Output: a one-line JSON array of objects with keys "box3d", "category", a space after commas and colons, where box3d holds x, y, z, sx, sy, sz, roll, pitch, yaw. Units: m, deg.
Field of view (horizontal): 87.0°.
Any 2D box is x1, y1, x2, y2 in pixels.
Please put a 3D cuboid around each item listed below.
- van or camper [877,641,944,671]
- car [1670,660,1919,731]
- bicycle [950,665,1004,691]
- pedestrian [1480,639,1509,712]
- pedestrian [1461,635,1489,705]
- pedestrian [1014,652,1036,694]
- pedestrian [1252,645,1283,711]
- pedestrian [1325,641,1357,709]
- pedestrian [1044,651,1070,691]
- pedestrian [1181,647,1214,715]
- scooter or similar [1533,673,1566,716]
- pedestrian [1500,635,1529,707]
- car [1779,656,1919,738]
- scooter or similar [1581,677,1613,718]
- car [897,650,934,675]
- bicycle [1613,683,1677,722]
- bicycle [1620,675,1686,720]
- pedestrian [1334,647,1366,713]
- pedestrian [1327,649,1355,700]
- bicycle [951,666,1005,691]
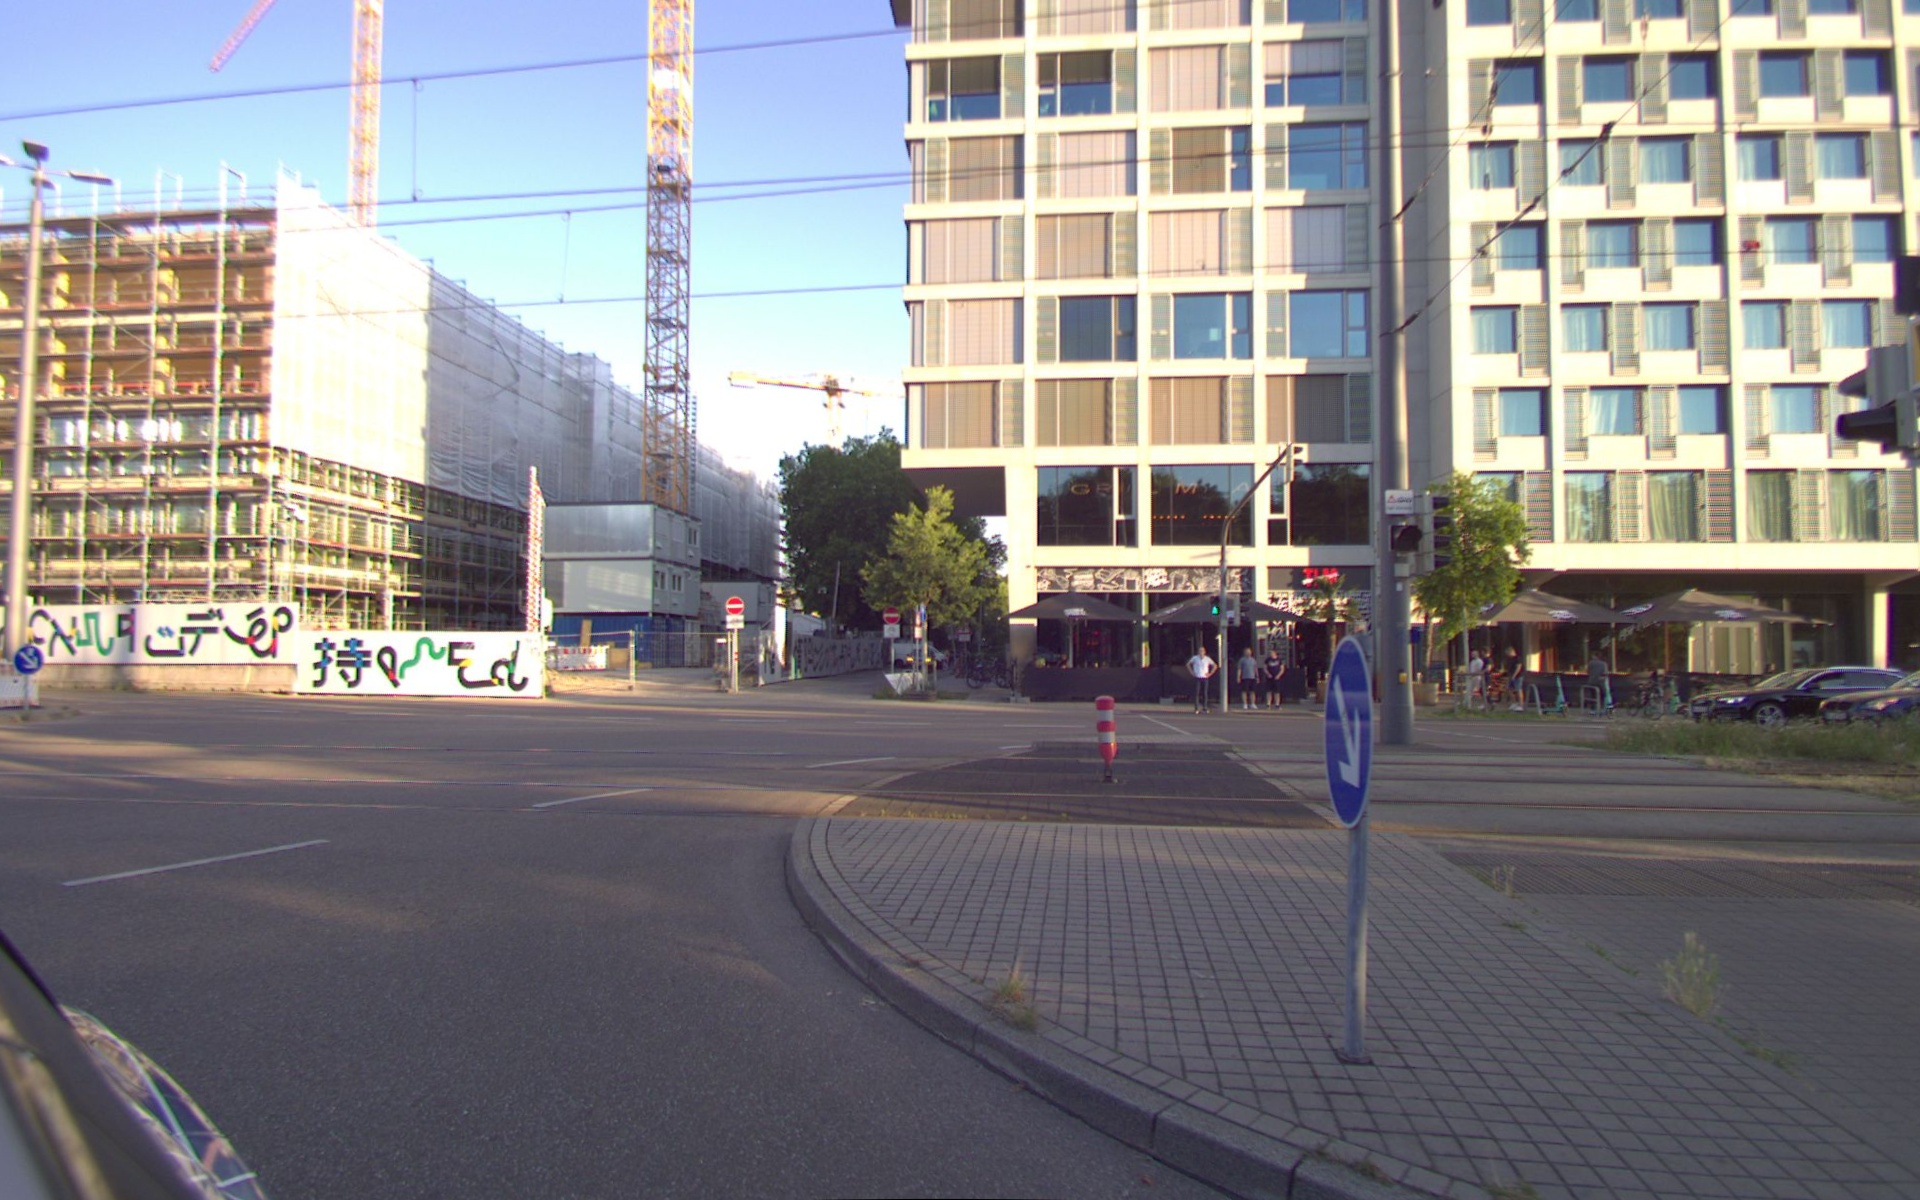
[{"box3d": [-3.867, 4.459, 79.930, 4.896, 2.139, 2.486, -3, -4, 8], "category": "van or camper"}, {"box3d": [18.249, 2.068, 21.982, 4.168, 1.451, 1.889, 0, -5, 3], "category": "car"}, {"box3d": [0.635, 2.900, 37.474, 1.952, 0.881, 0.394, -2, -1, 3], "category": "bicycle"}, {"box3d": [15.065, 2.118, 28.536, 0.495, 2.029, 0.552, 3, -4, -44], "category": "pedestrian"}, {"box3d": [15.066, 2.035, 29.612, 0.495, 2.029, 0.552, 3, -4, -44], "category": "pedestrian"}, {"box3d": [2.323, 2.609, 36.170, 0.763, 1.474, 0.605, 0, -3, 4], "category": "pedestrian"}, {"box3d": [8.868, 2.245, 29.204, 0.672, 1.850, 0.708, 1, -1, 3], "category": "pedestrian"}, {"box3d": [11.172, 2.179, 29.677, 0.700, 1.938, 0.680, 0, -1, 5], "category": "pedestrian"}, {"box3d": [3.476, 2.531, 36.323, 0.760, 1.425, 0.607, 1, -3, -12], "category": "pedestrian"}, {"box3d": [6.601, 2.243, 28.138, 0.753, 1.850, 0.708, 0, -1, 3], "category": "pedestrian"}, {"box3d": [16.058, 2.565, 27.567, 0.334, 1.093, 0.974, 3, 0, 4], "category": "scooter or similar"}, {"box3d": [15.953, 2.040, 29.119, 0.495, 2.029, 0.552, 3, -4, -44], "category": "pedestrian"}, {"box3d": [18.575, 1.798, 18.853, 4.739, 1.452, 2.019, 0, -5, 4], "category": "car"}, {"box3d": [17.133, 2.610, 27.235, 0.287, 1.041, 1.008, 1, -2, 4], "category": "scooter or similar"}, {"box3d": [-2.908, 4.079, 66.693, 1.984, 1.610, 3.700, 0, -3, 5], "category": "car"}, {"box3d": [18.330, 2.728, 27.126, 0.437, 0.877, 1.870, 0, -1, 1], "category": "bicycle"}, {"box3d": [18.590, 2.596, 27.190, 0.437, 1.067, 1.914, 0, -1, 1], "category": "bicycle"}, {"box3d": [11.148, 2.273, 28.947, 0.700, 1.836, 0.616, 0, -1, 7], "category": "pedestrian"}, {"box3d": [12.166, 2.374, 32.314, 0.701, 1.616, 0.678, 0, -3, 11], "category": "pedestrian"}, {"box3d": [0.642, 2.822, 36.573, 1.952, 0.881, 0.394, 0, -1, 3], "category": "bicycle"}]
